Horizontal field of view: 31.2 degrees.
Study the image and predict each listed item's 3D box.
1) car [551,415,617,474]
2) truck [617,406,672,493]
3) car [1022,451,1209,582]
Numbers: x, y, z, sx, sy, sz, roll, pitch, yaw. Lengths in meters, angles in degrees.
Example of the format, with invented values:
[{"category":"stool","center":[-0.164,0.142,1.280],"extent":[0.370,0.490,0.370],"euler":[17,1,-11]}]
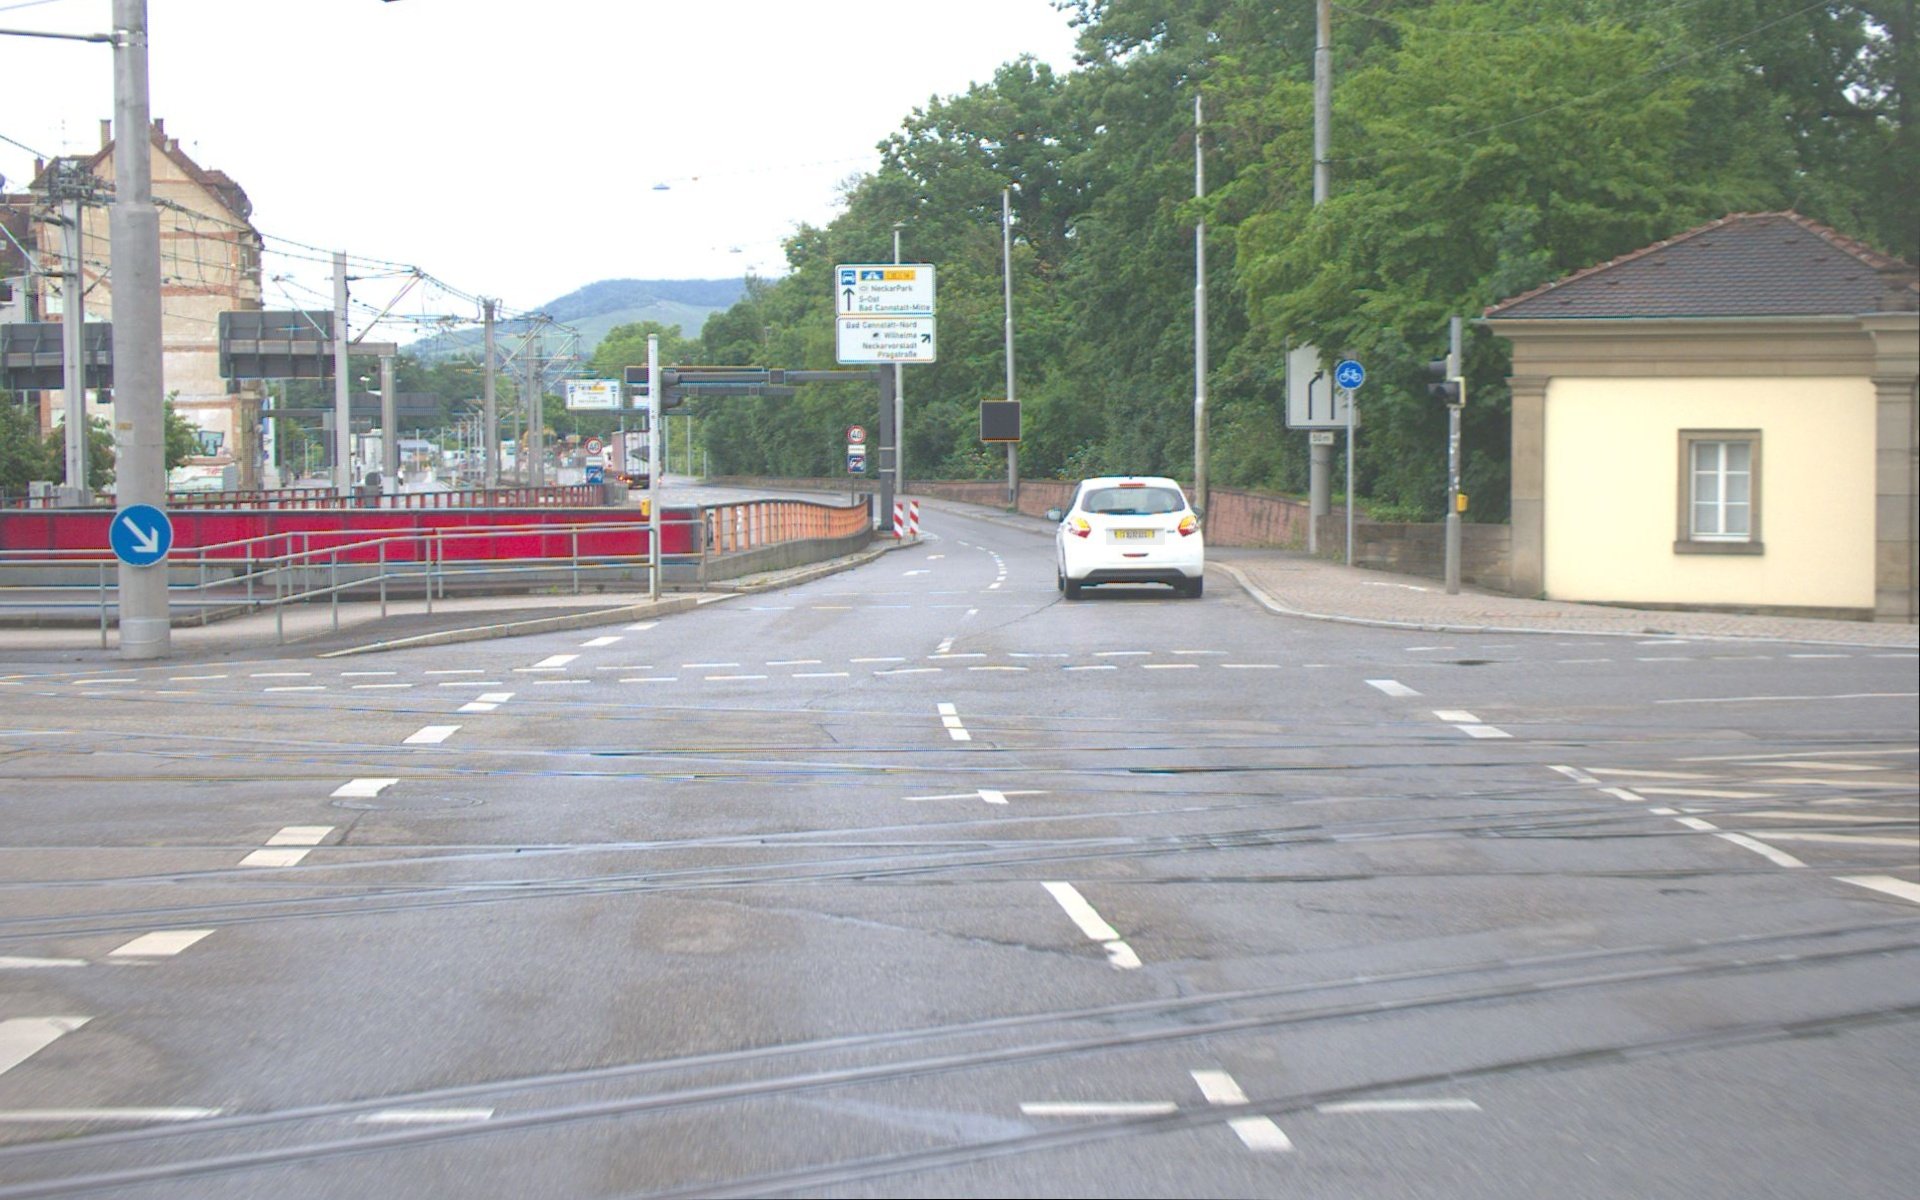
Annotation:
[{"category":"car","center":[-12.681,-5.233,115.832],"extent":[1.993,1.866,4.001],"euler":[-2,2,-8]},{"category":"truck","center":[-21.980,-10.379,238.669],"extent":[3.464,5.382,12.053],"euler":[0,-1,-7]},{"category":"car","center":[1.877,-0.999,42.698],"extent":[1.955,1.483,4.000],"euler":[0,-1,-3]}]
